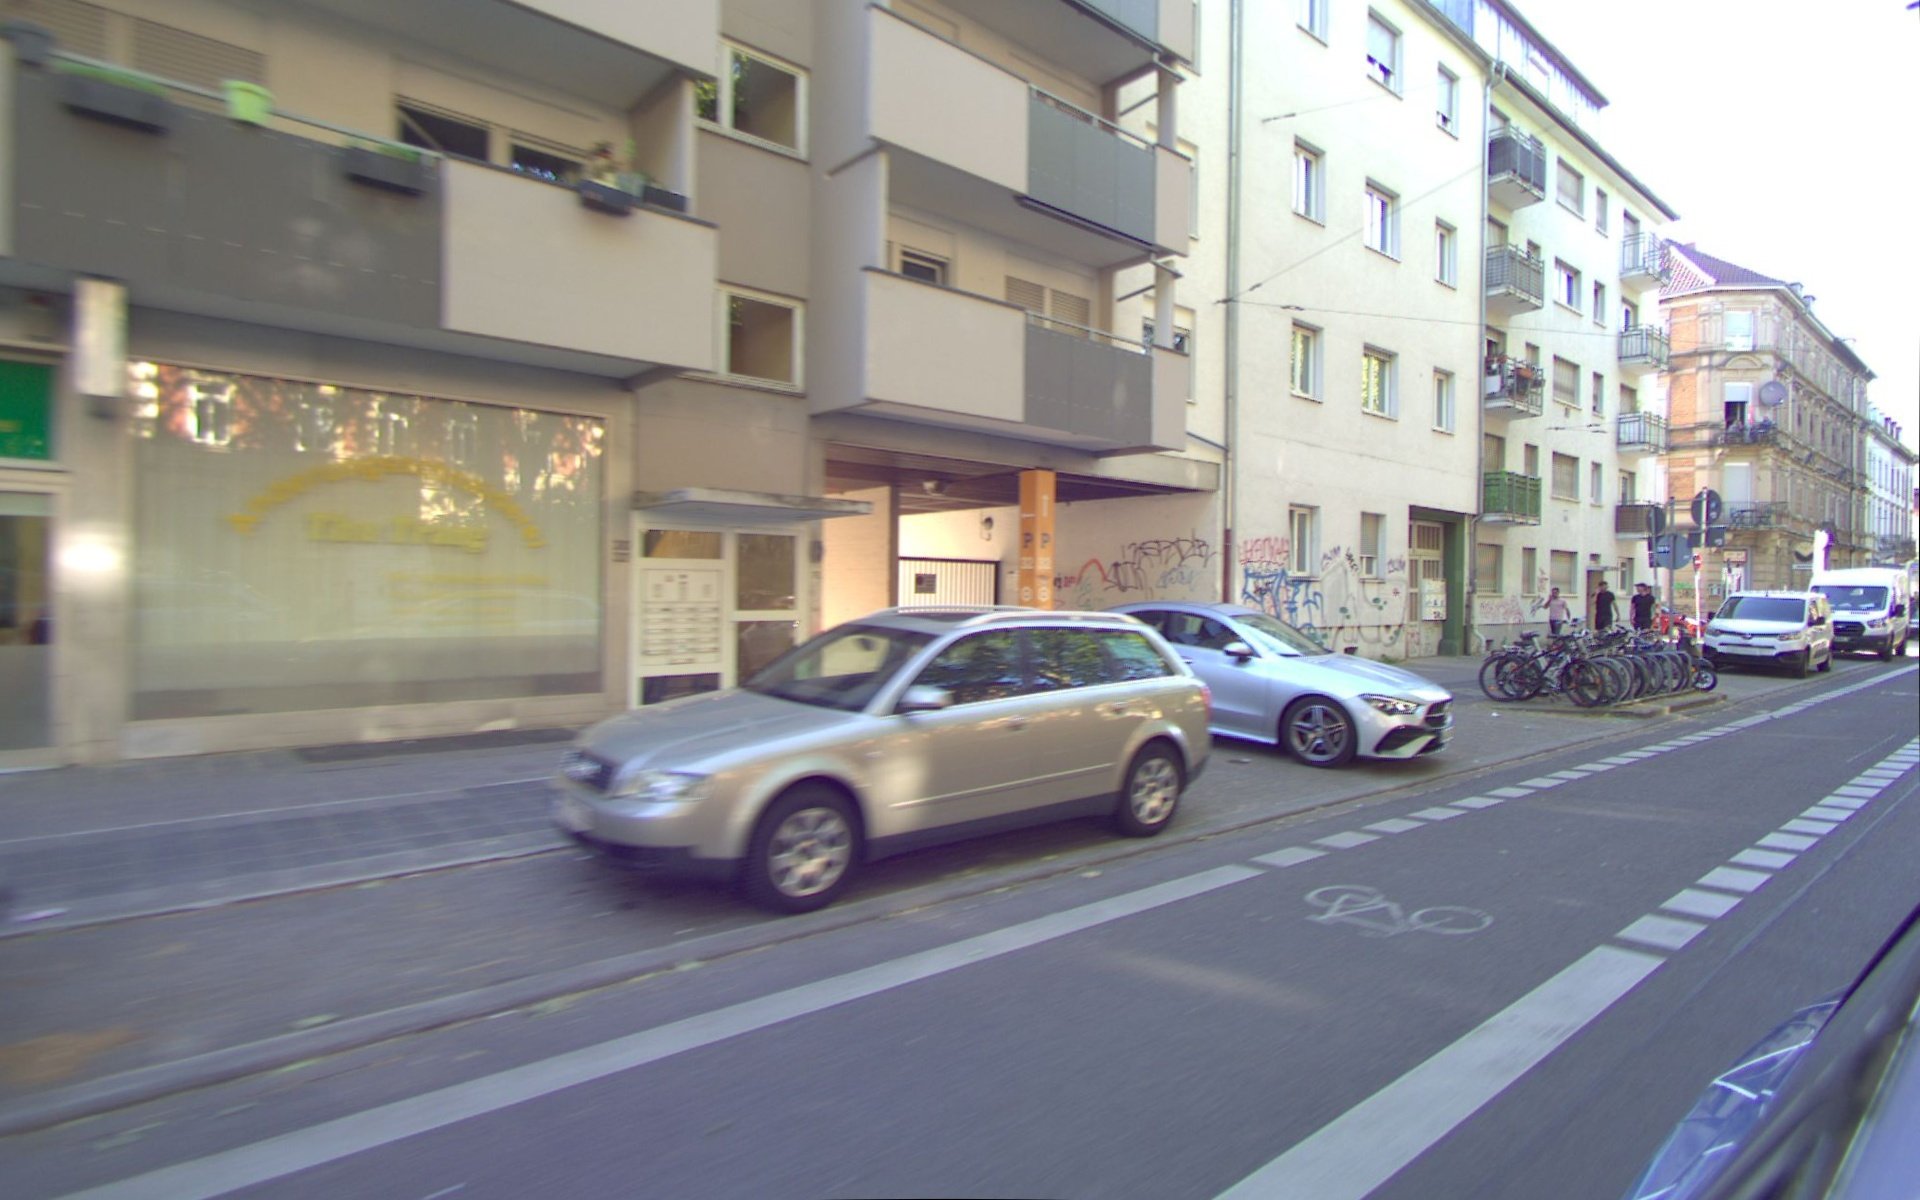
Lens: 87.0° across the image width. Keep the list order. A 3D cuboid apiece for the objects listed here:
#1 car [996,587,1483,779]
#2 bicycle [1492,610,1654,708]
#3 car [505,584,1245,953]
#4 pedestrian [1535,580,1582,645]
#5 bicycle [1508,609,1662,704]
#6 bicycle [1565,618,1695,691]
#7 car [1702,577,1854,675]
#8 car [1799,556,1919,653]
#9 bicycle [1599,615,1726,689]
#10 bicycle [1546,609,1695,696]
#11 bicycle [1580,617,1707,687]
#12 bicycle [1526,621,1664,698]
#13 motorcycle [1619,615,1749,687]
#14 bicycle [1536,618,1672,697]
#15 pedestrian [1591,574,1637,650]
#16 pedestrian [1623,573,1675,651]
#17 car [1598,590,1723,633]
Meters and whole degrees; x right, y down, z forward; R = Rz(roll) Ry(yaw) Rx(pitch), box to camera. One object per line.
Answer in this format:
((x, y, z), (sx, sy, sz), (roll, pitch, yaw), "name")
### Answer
((2.770, 0.670, 10.694), (4.607, 1.455, 1.838), (3, 2, 39), "car")
((8.723, 0.803, 14.483), (0.449, 1.206, 1.896), (0, 3, -40), "bicycle")
((-0.272, 0.691, 6.343), (4.431, 1.544, 1.728), (0, 1, -39), "car")
((15.671, 0.317, 26.495), (0.916, 1.598, 0.634), (-1, 7, -39), "pedestrian")
((9.087, 0.786, 14.778), (0.449, 1.206, 1.827), (0, 3, -40), "bicycle")
((10.808, 0.858, 16.379), (0.449, 0.999, 1.657), (0, 3, -40), "bicycle")
((18.315, 0.485, 22.597), (4.276, 1.841, 1.863), (-2, 5, -41), "car")
((26.201, 0.064, 29.180), (5.982, 2.526, 2.153), (-1, 1, -41), "car")
((11.793, 0.848, 17.032), (0.449, 1.068, 1.656), (0, 3, -40), "bicycle")
((10.306, 0.784, 15.854), (0.692, 1.162, 1.798), (0, 3, -40), "bicycle")
((11.292, 0.839, 16.771), (0.449, 0.999, 1.657), (0, 3, -40), "bicycle")
((9.439, 0.860, 15.095), (0.449, 0.978, 1.657), (0, 3, -40), "bicycle")
((12.516, 0.850, 17.567), (0.604, 1.093, 1.829), (0, 2, -17), "motorcycle")
((9.800, 0.852, 15.456), (0.449, 1.033, 1.657), (0, 3, -40), "bicycle")
((16.418, 0.278, 25.392), (1.062, 1.845, 0.626), (-1, 2, -39), "pedestrian")
((16.774, 0.271, 24.643), (1.062, 1.845, 0.711), (-1, 2, -39), "pedestrian")
((27.152, 0.421, 39.304), (1.757, 1.594, 3.659), (-1, 0, -38), "car")
